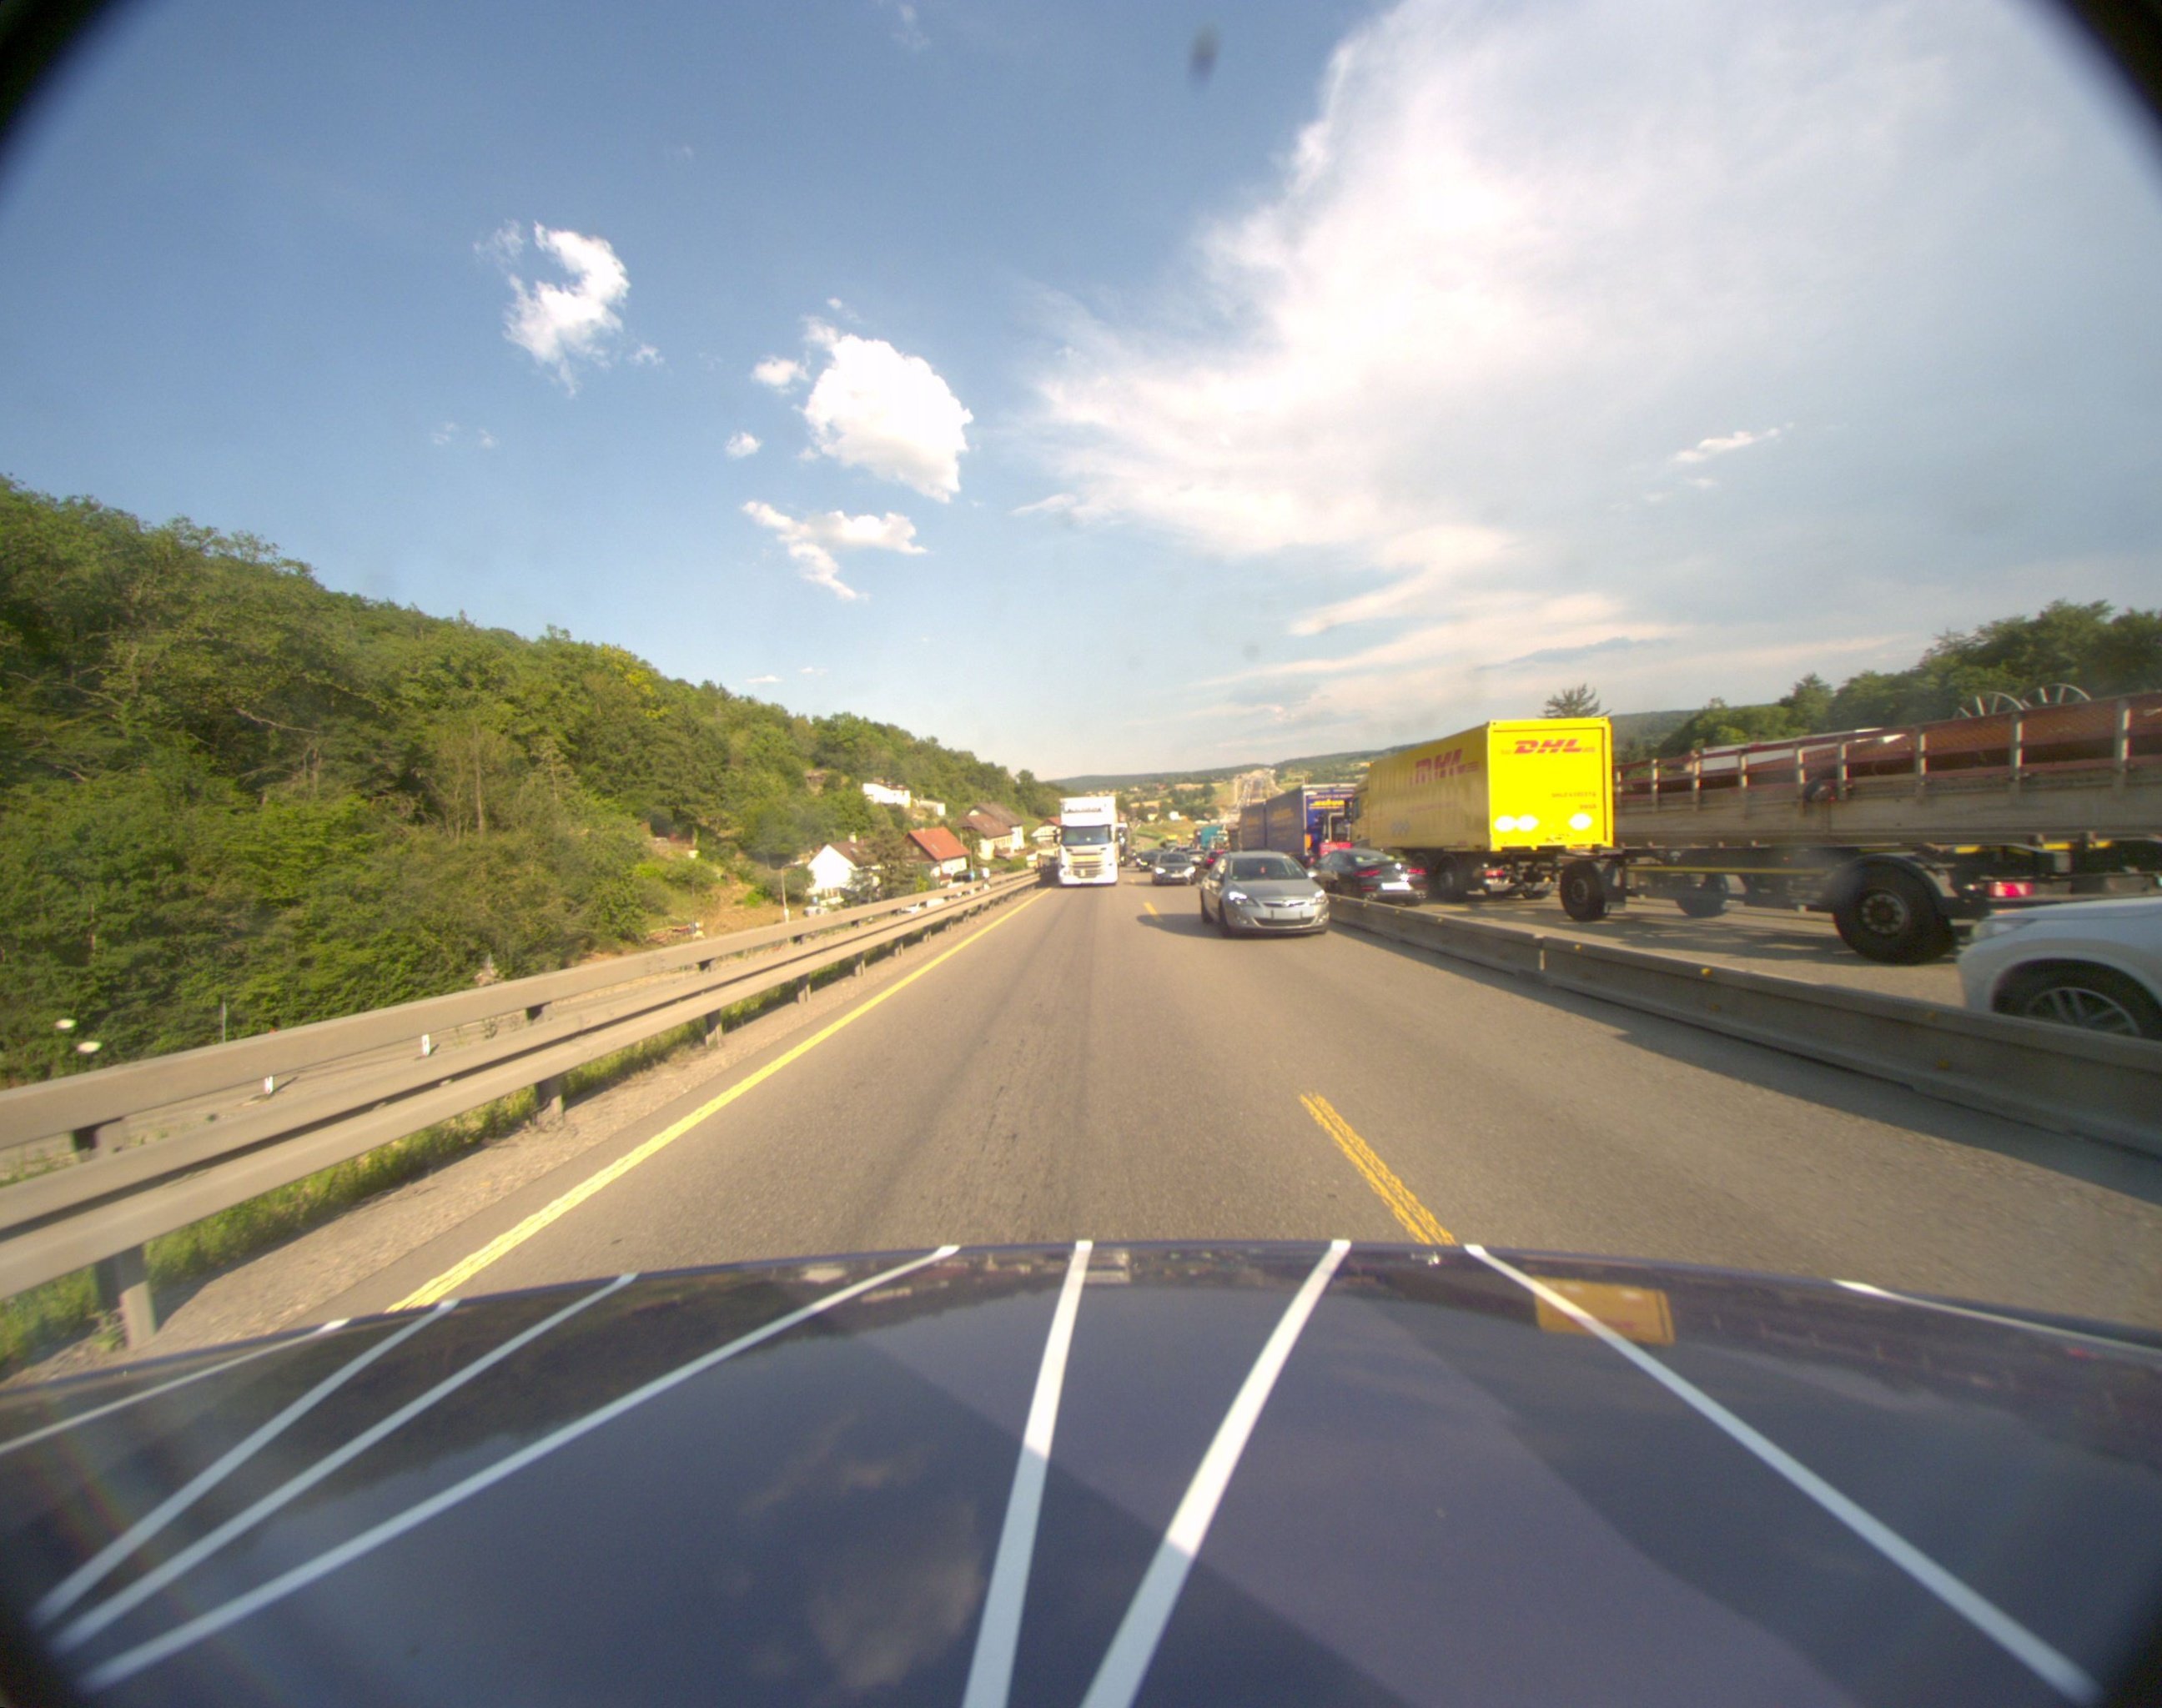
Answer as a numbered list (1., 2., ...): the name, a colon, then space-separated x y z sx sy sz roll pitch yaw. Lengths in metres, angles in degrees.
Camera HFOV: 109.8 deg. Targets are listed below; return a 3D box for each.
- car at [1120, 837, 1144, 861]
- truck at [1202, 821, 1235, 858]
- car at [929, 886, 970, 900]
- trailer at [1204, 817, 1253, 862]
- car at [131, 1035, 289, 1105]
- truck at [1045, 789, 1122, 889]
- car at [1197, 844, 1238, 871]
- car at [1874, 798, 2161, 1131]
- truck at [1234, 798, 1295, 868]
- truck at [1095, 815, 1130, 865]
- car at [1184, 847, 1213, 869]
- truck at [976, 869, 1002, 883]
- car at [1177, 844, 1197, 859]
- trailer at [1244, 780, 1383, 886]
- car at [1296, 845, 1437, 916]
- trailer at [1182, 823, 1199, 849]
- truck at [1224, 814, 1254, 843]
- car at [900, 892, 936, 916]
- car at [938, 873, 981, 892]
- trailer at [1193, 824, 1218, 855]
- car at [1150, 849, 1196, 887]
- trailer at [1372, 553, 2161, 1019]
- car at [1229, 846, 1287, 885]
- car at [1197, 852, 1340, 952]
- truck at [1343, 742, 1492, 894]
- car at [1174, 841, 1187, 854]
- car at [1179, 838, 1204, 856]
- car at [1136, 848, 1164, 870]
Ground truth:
1. car: 4.535 -0.466 68.215 1.998 2.002 3.999 -1 2 3
2. truck: 14.386 -1.533 80.087 2.755 3.784 7.112 0 1 5
3. car: -17.791 5.240 102.817 5.098 1.548 1.716 -2 3 13
4. trailer: 13.752 -1.373 72.114 2.755 3.794 16.049 0 1 5
5. car: -34.328 8.463 30.063 1.769 1.589 3.621 -5 1 25
6. truck: 0.473 -0.809 38.291 2.892 4.059 13.893 -1 2 4
7. car: 8.262 0.184 46.384 1.801 1.445 4.615 -1 2 2
8. car: 6.220 0.554 2.815 1.850 1.638 4.559 -1 1 1
9. truck: 11.492 -1.310 48.044 2.707 4.117 5.794 -1 2 3
10. truck: 3.194 -1.312 74.759 2.787 4.505 7.192 -3 0 5
11. car: 9.067 0.257 59.028 1.792 1.489 4.724 -1 2 3
12. truck: -14.101 3.402 115.982 2.002 1.729 3.990 -11 5 -36
13. car: 12.741 -0.345 91.352 1.964 1.635 4.848 -1 2 4
14. trailer: 10.960 -1.038 38.242 2.721 4.111 16.751 -1 2 3
15. car: 6.758 0.533 18.590 1.744 1.394 4.902 -1 2 2
16. trailer: 20.265 -3.326 140.935 2.917 4.440 7.154 -2 1 7
17. truck: 24.140 -3.825 116.607 3.165 4.099 12.495 0 1 5
18. car: -18.041 5.499 84.375 1.865 1.975 5.054 -1 3 14
19. car: -16.932 4.016 105.998 5.475 2.251 2.001 -3 3 13
20. trailer: 17.526 -2.008 107.708 2.720 4.099 12.495 0 1 5
21. car: 3.998 0.566 33.215 1.822 1.433 4.001 -3 1 6
22. trailer: 9.865 -0.822 14.860 2.707 4.180 15.995 -1 2 2
23. car: 7.816 0.463 33.912 1.720 1.499 4.291 -1 2 3
24. car: 3.291 0.764 14.132 1.810 1.478 4.118 -2 1 3
25. truck: 10.159 -1.052 23.414 2.700 4.173 4.397 -1 2 2
26. car: 15.827 -1.081 121.441 1.827 1.922 5.130 1 2 5
27. car: 10.680 -0.712 73.564 1.931 1.692 4.691 -1 2 3
28. car: 5.408 0.374 60.253 1.998 1.565 3.999 -1 2 3
